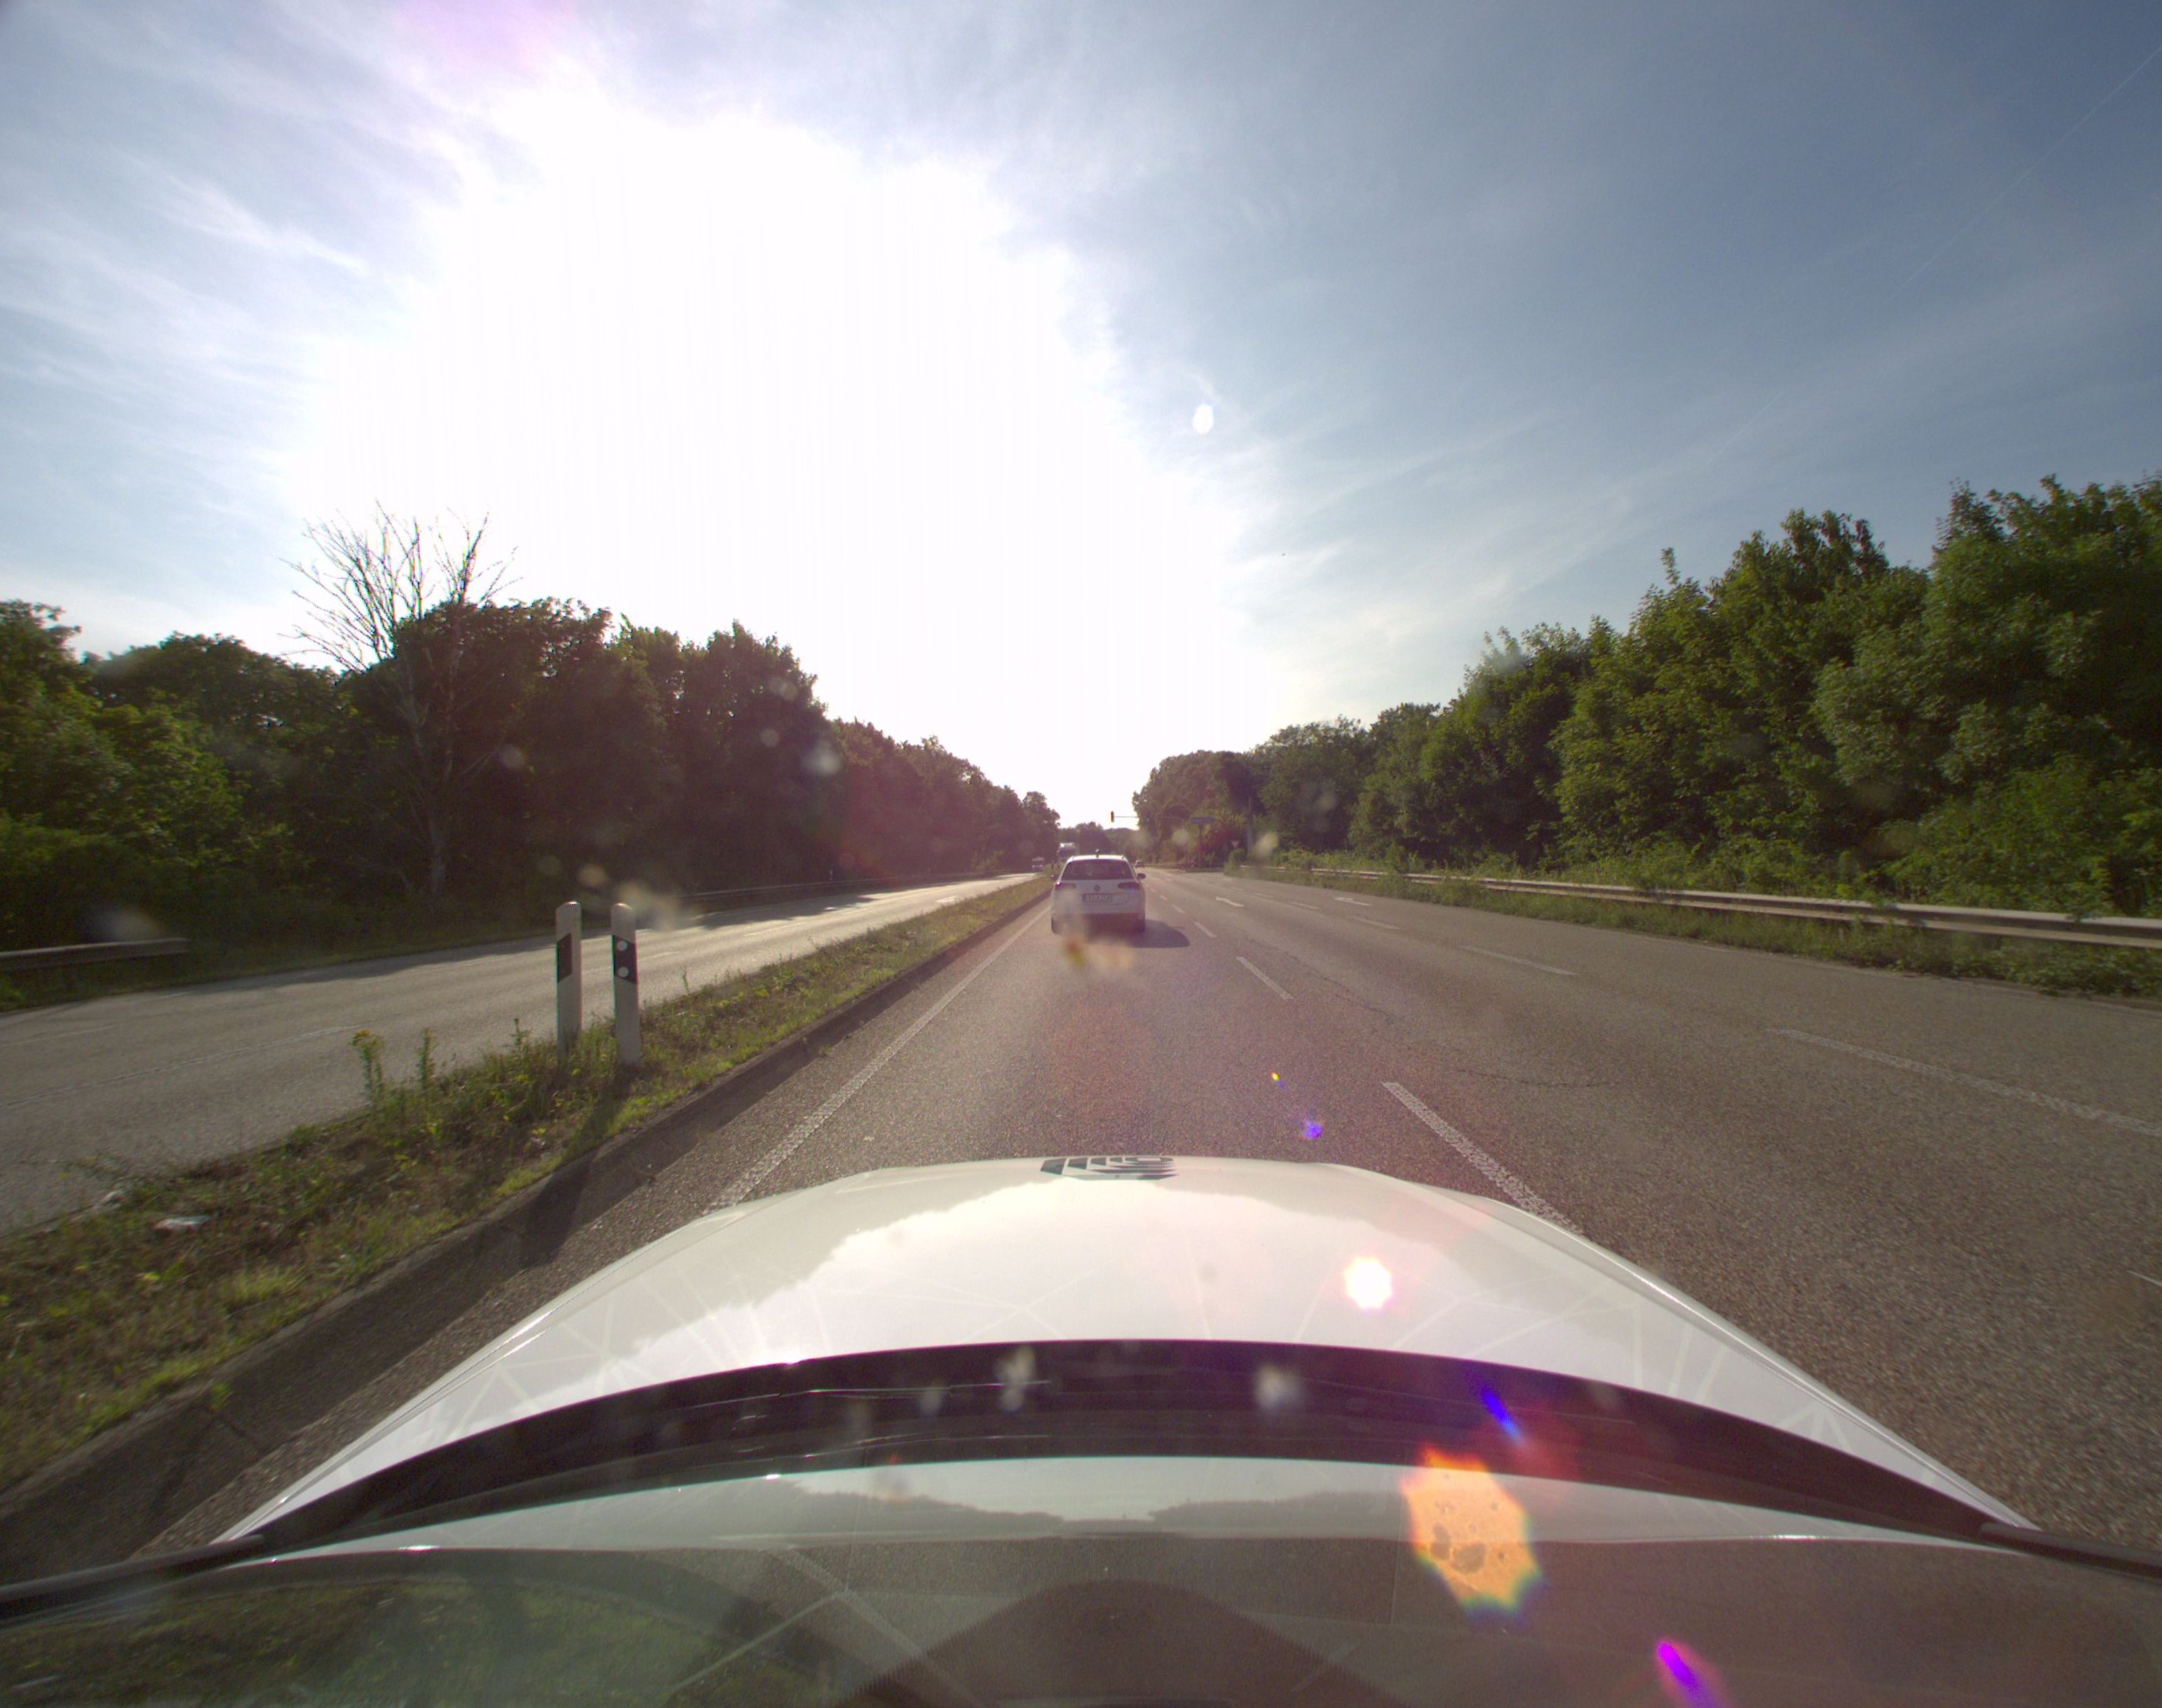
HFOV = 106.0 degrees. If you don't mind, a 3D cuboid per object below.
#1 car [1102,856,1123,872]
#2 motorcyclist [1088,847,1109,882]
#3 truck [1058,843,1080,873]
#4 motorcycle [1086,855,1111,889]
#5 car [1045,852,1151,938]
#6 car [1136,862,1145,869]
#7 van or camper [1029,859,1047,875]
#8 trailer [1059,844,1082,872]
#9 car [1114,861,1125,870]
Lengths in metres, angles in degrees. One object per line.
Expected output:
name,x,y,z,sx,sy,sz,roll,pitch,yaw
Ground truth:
car,2.855,0.869,72.329,1.754,1.380,3.975,0,-1,3
motorcyclist,0.812,0.481,37.902,0.879,1.616,1.292,0,-1,4
truck,-1.689,0.565,114.101,2.881,3.997,6.722,0,-1,1
motorcycle,0.824,0.824,37.870,0.904,1.453,2.692,-5,-1,4
car,0.419,0.746,16.956,1.862,1.521,4.837,-1,0,3
car,12.759,2.471,174.729,1.754,1.380,3.975,0,-1,3
van or camper,-7.814,2.319,148.487,2.403,2.711,6.440,-4,-1,2
trailer,-1.495,0.660,121.596,2.980,3.996,14.016,0,-1,1
car,6.212,1.834,130.244,1.754,1.380,3.975,0,-1,3
